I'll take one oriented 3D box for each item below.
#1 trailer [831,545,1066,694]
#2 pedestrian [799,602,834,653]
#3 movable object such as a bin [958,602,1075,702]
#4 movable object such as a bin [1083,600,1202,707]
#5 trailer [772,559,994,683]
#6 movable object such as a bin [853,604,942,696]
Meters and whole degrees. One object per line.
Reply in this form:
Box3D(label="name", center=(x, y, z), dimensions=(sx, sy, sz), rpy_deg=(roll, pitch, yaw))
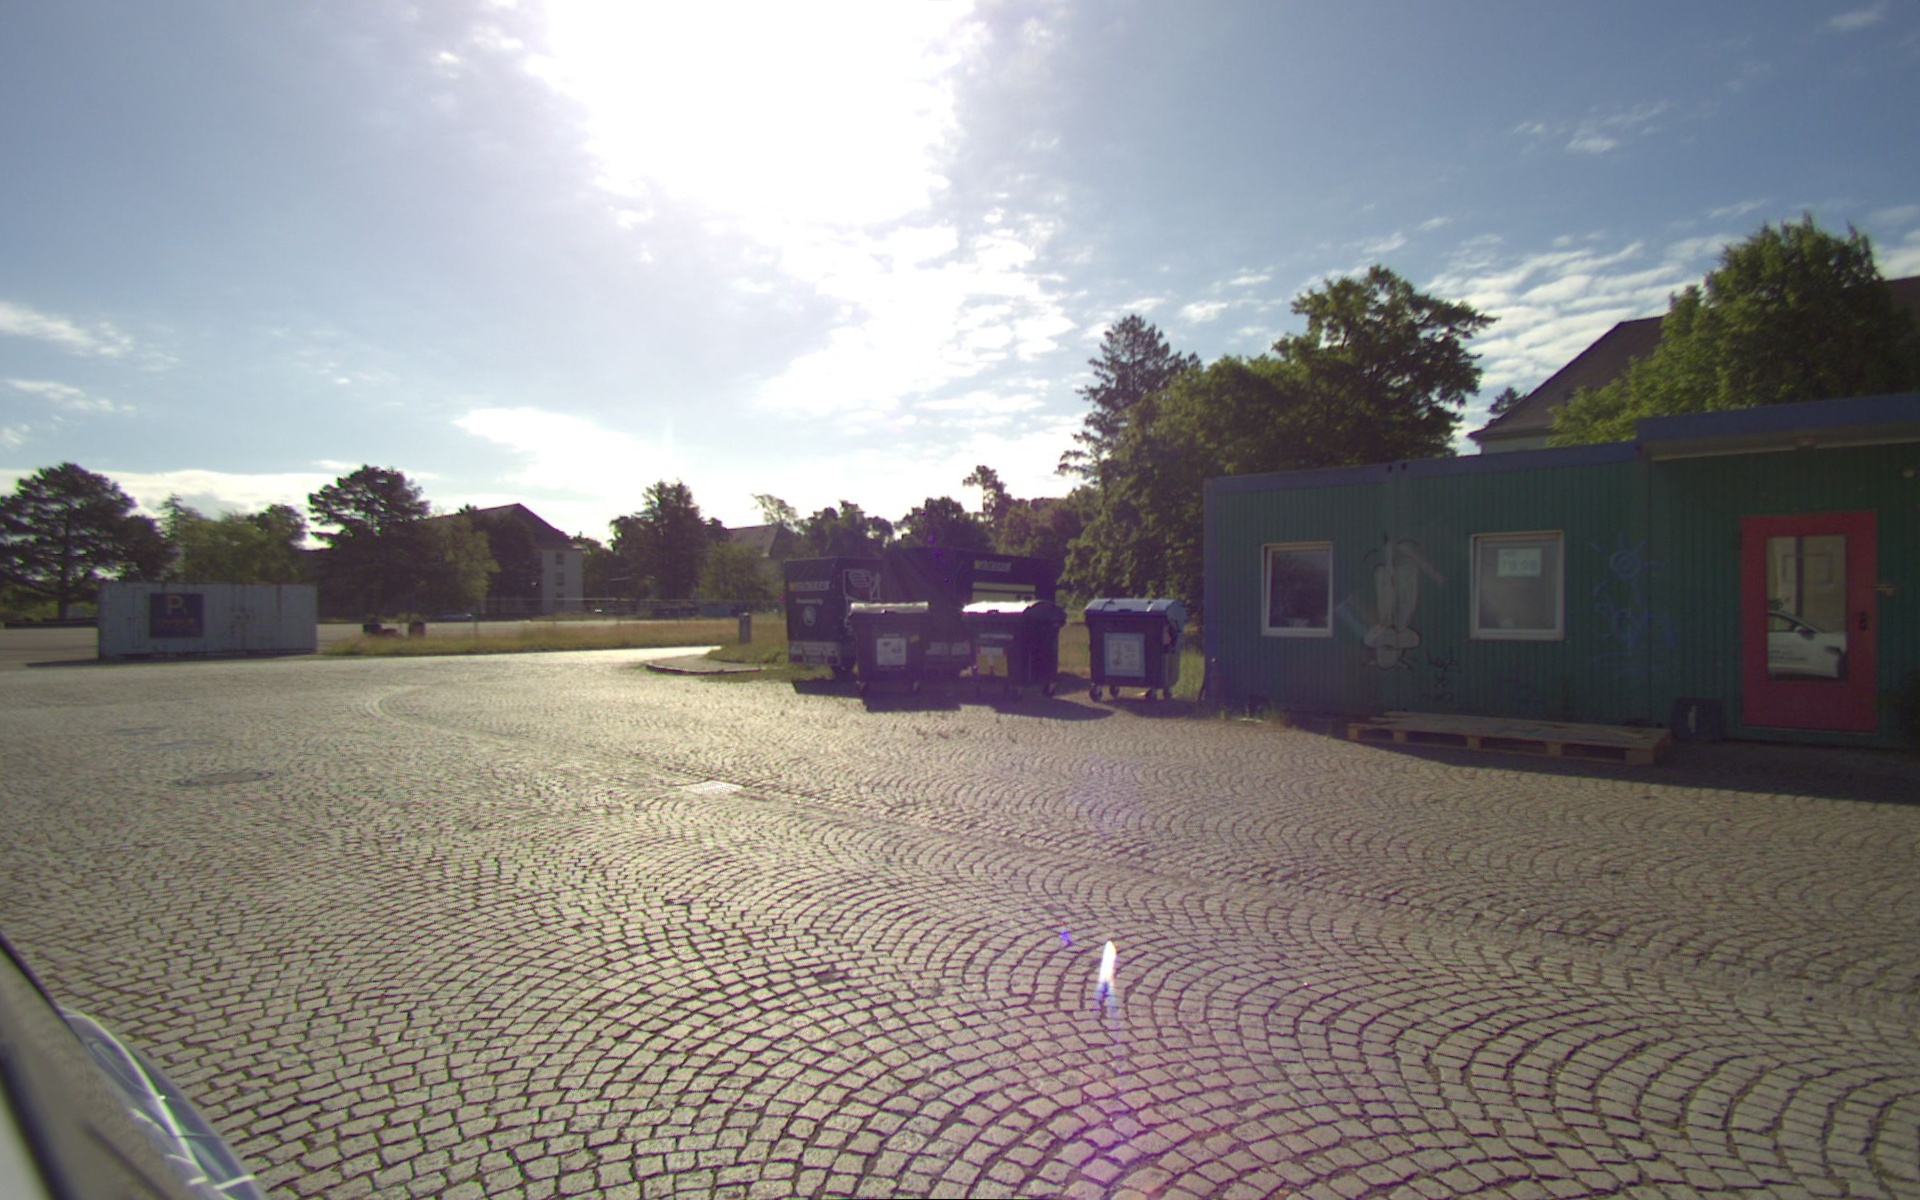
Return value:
Box3D(label="trailer", center=(-0.055, 0.297, 18.926), dimensions=(1.939, 2.409, 4.796), rpy_deg=(-1, 0, 36))
Box3D(label="pedestrian", center=(-5.554, 1.061, 39.193), dimensions=(0.800, 1.929, 1.126), rpy_deg=(-1, -1, 42))
Box3D(label="movable object such as a bin", center=(0.829, 0.737, 14.988), dimensions=(1.370, 1.396, 1.068), rpy_deg=(-1, -1, 45))
Box3D(label="movable object such as a bin", center=(2.620, 0.729, 14.509), dimensions=(1.403, 1.447, 1.077), rpy_deg=(-1, -1, 30))
Box3D(label="trailer", center=(-1.483, 0.364, 20.901), dimensions=(2.013, 2.290, 4.407), rpy_deg=(-1, 0, 41))
Box3D(label="movable object such as a bin", center=(-0.972, 0.772, 15.978), dimensions=(1.345, 1.396, 1.048), rpy_deg=(0, -1, -1))
